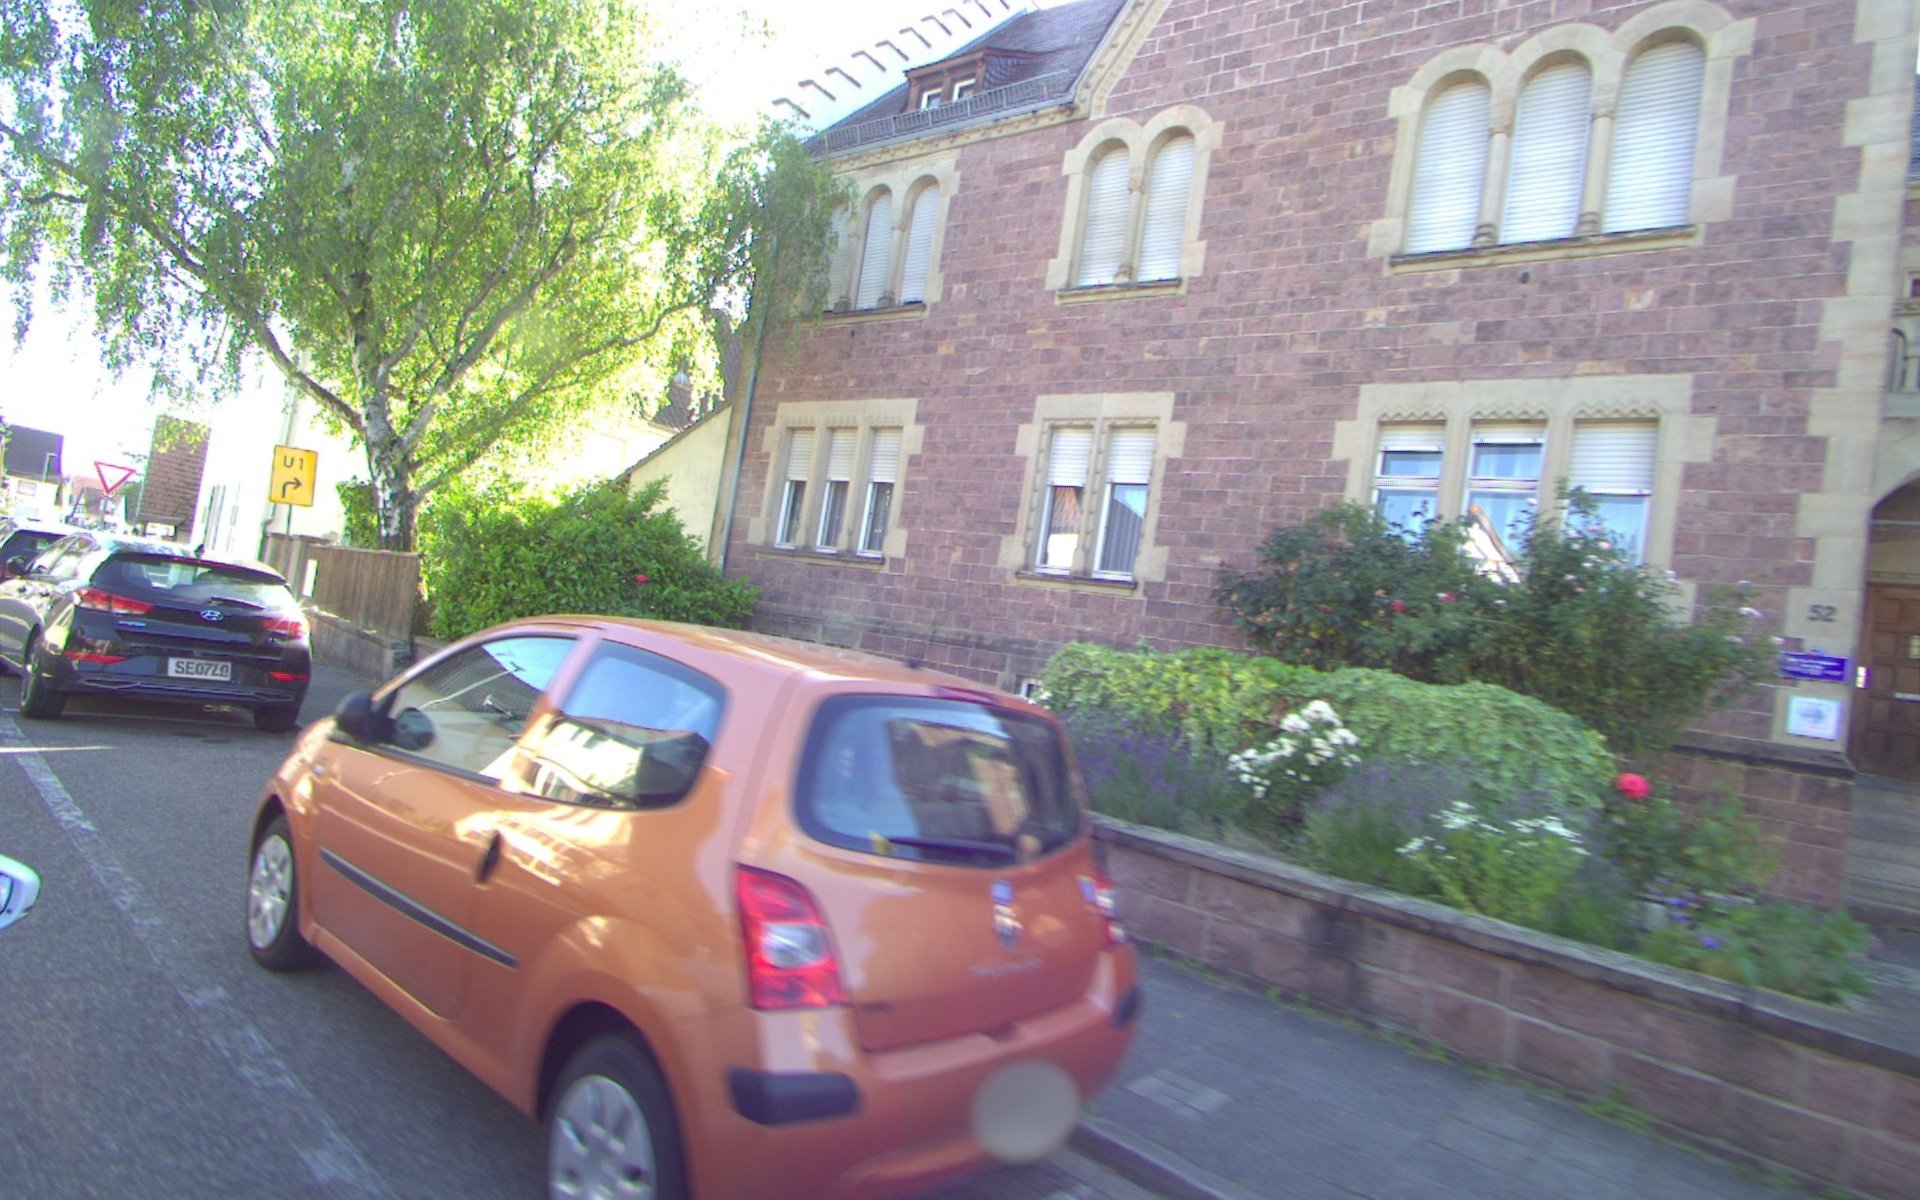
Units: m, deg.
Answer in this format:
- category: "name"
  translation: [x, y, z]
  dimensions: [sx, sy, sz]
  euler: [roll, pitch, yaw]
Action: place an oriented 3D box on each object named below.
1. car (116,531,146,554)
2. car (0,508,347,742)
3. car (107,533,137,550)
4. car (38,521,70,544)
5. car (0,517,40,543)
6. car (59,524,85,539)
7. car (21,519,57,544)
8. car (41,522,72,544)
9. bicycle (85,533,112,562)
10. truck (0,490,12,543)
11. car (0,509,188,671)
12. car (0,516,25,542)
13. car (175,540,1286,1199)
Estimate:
- category: "car"
  translation: [-78.280, -5.399, 94.994]
  dimensions: [1.968, 1.731, 3.951]
  euler: [12, -5, -40]
- category: "car"
  translation: [-7.392, 0.131, 9.057]
  dimensions: [4.224, 1.451, 1.809]
  euler: [7, -4, 40]
- category: "car"
  translation: [-105.810, -7.432, 127.017]
  dimensions: [3.936, 1.599, 1.976]
  euler: [6, -5, 38]
- category: "car"
  translation: [-71.046, -5.293, 78.915]
  dimensions: [1.584, 1.457, 3.575]
  euler: [12, -5, -40]
- category: "car"
  translation: [-61.807, -4.567, 66.140]
  dimensions: [1.584, 1.350, 3.575]
  euler: [12, -5, -40]
- category: "car"
  translation: [-126.155, -9.762, 142.904]
  dimensions: [3.936, 1.599, 1.976]
  euler: [6, -5, 38]
- category: "car"
  translation: [-66.857, -4.963, 73.053]
  dimensions: [1.584, 1.457, 3.575]
  euler: [12, -5, -40]
- category: "car"
  translation: [-73.993, -5.492, 82.442]
  dimensions: [1.584, 1.457, 3.575]
  euler: [12, -5, -40]
- category: "bicycle"
  translation: [-39.093, -2.385, 45.641]
  dimensions: [0.430, 1.189, 1.816]
  euler: [10, -3, -29]
- category: "truck"
  translation: [-54.062, -4.801, 54.999]
  dimensions: [2.260, 2.898, 5.726]
  euler: [11, -5, -37]
- category: "car"
  translation: [-10.886, -0.229, 12.098]
  dimensions: [4.230, 1.451, 1.807]
  euler: [6, -5, 44]
- category: "car"
  translation: [-59.269, -4.458, 62.290]
  dimensions: [1.641, 1.447, 3.575]
  euler: [12, -5, -40]
- category: "car"
  translation: [-1.140, 0.790, 3.544]
  dimensions: [3.877, 1.494, 1.649]
  euler: [7, -4, 40]
